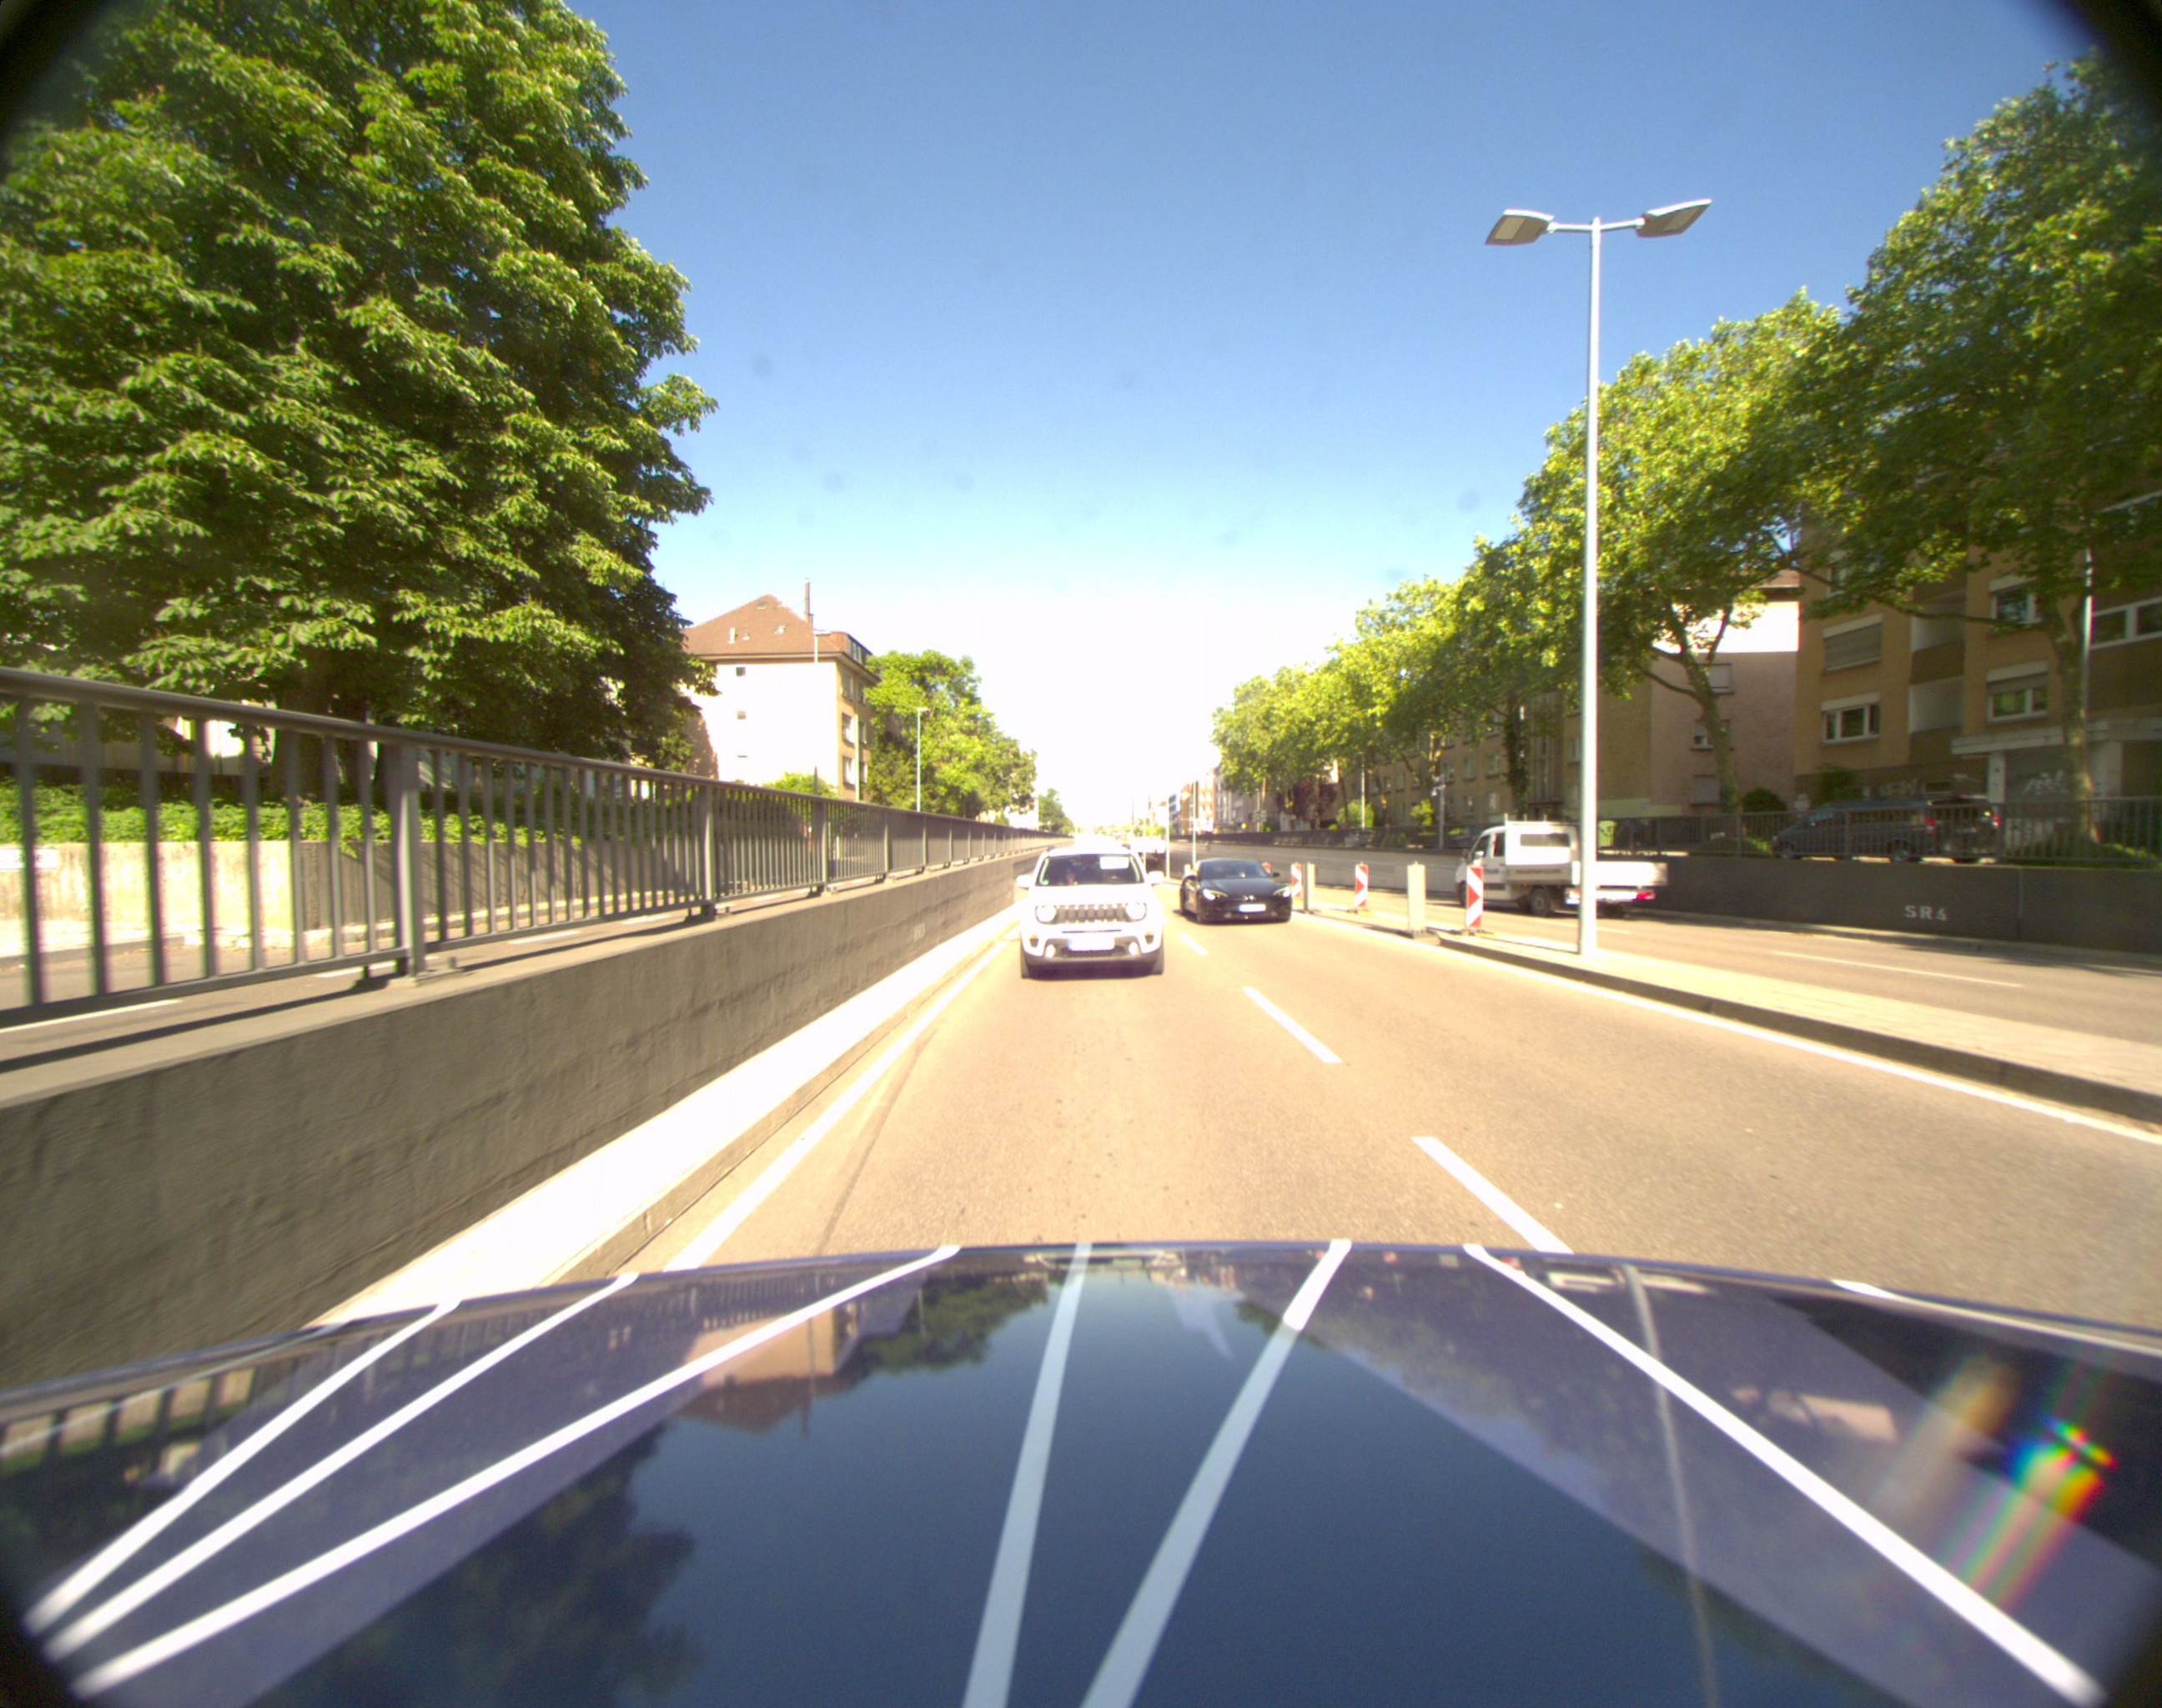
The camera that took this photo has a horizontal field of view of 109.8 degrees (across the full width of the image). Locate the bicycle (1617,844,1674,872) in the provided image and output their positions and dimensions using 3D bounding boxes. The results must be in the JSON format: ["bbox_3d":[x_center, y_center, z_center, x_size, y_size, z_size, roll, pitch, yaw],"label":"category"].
[{"bbox_3d":[20.036,0.132,26.997,0.658,0.922,1.757,-2,1,-2],"label":"bicycle"}]

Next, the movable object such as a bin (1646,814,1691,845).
[{"bbox_3d":[29.016,-1.185,37.538,1.317,1.475,1.147,-2,1,-2],"label":"movable object such as a bin"}]

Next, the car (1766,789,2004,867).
[{"bbox_3d":[22.764,-0.698,21.831,1.971,1.949,4.526,-2,1,-1],"label":"car"}]

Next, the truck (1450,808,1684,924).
[{"bbox_3d":[12.068,0.282,19.597,2.234,2.513,6.130,0,0,2],"label":"truck"}]

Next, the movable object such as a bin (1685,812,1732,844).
[{"bbox_3d":[30.777,-1.266,37.289,1.317,1.475,1.147,-2,1,-2],"label":"movable object such as a bin"}]

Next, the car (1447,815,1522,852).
[{"bbox_3d":[23.138,-1.176,43.800,1.970,1.949,4.413,-2,1,1],"label":"car"}]

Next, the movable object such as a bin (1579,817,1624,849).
[{"bbox_3d":[25.367,-1.030,37.042,1.209,1.475,1.357,-2,1,-7],"label":"movable object such as a bin"}]

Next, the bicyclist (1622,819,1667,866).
[{"bbox_3d":[20.012,-0.416,26.999,0.777,1.624,1.022,-2,1,-2],"label":"bicyclist"}]

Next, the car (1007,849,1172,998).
[{"bbox_3d":[0.125,0.816,10.792,1.855,1.658,3.970,-2,0,1],"label":"car"}]

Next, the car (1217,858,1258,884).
[{"bbox_3d":[8.943,0.958,43.697,1.613,1.449,3.609,1,-1,0],"label":"car"}]

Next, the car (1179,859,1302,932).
[{"bbox_3d":[3.517,0.861,17.509,1.998,1.407,4.000,-2,0,1],"label":"car"}]

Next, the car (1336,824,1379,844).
[{"bbox_3d":[23.042,-1.636,63.507,1.926,1.575,4.303,-2,1,-1],"label":"car"}]
